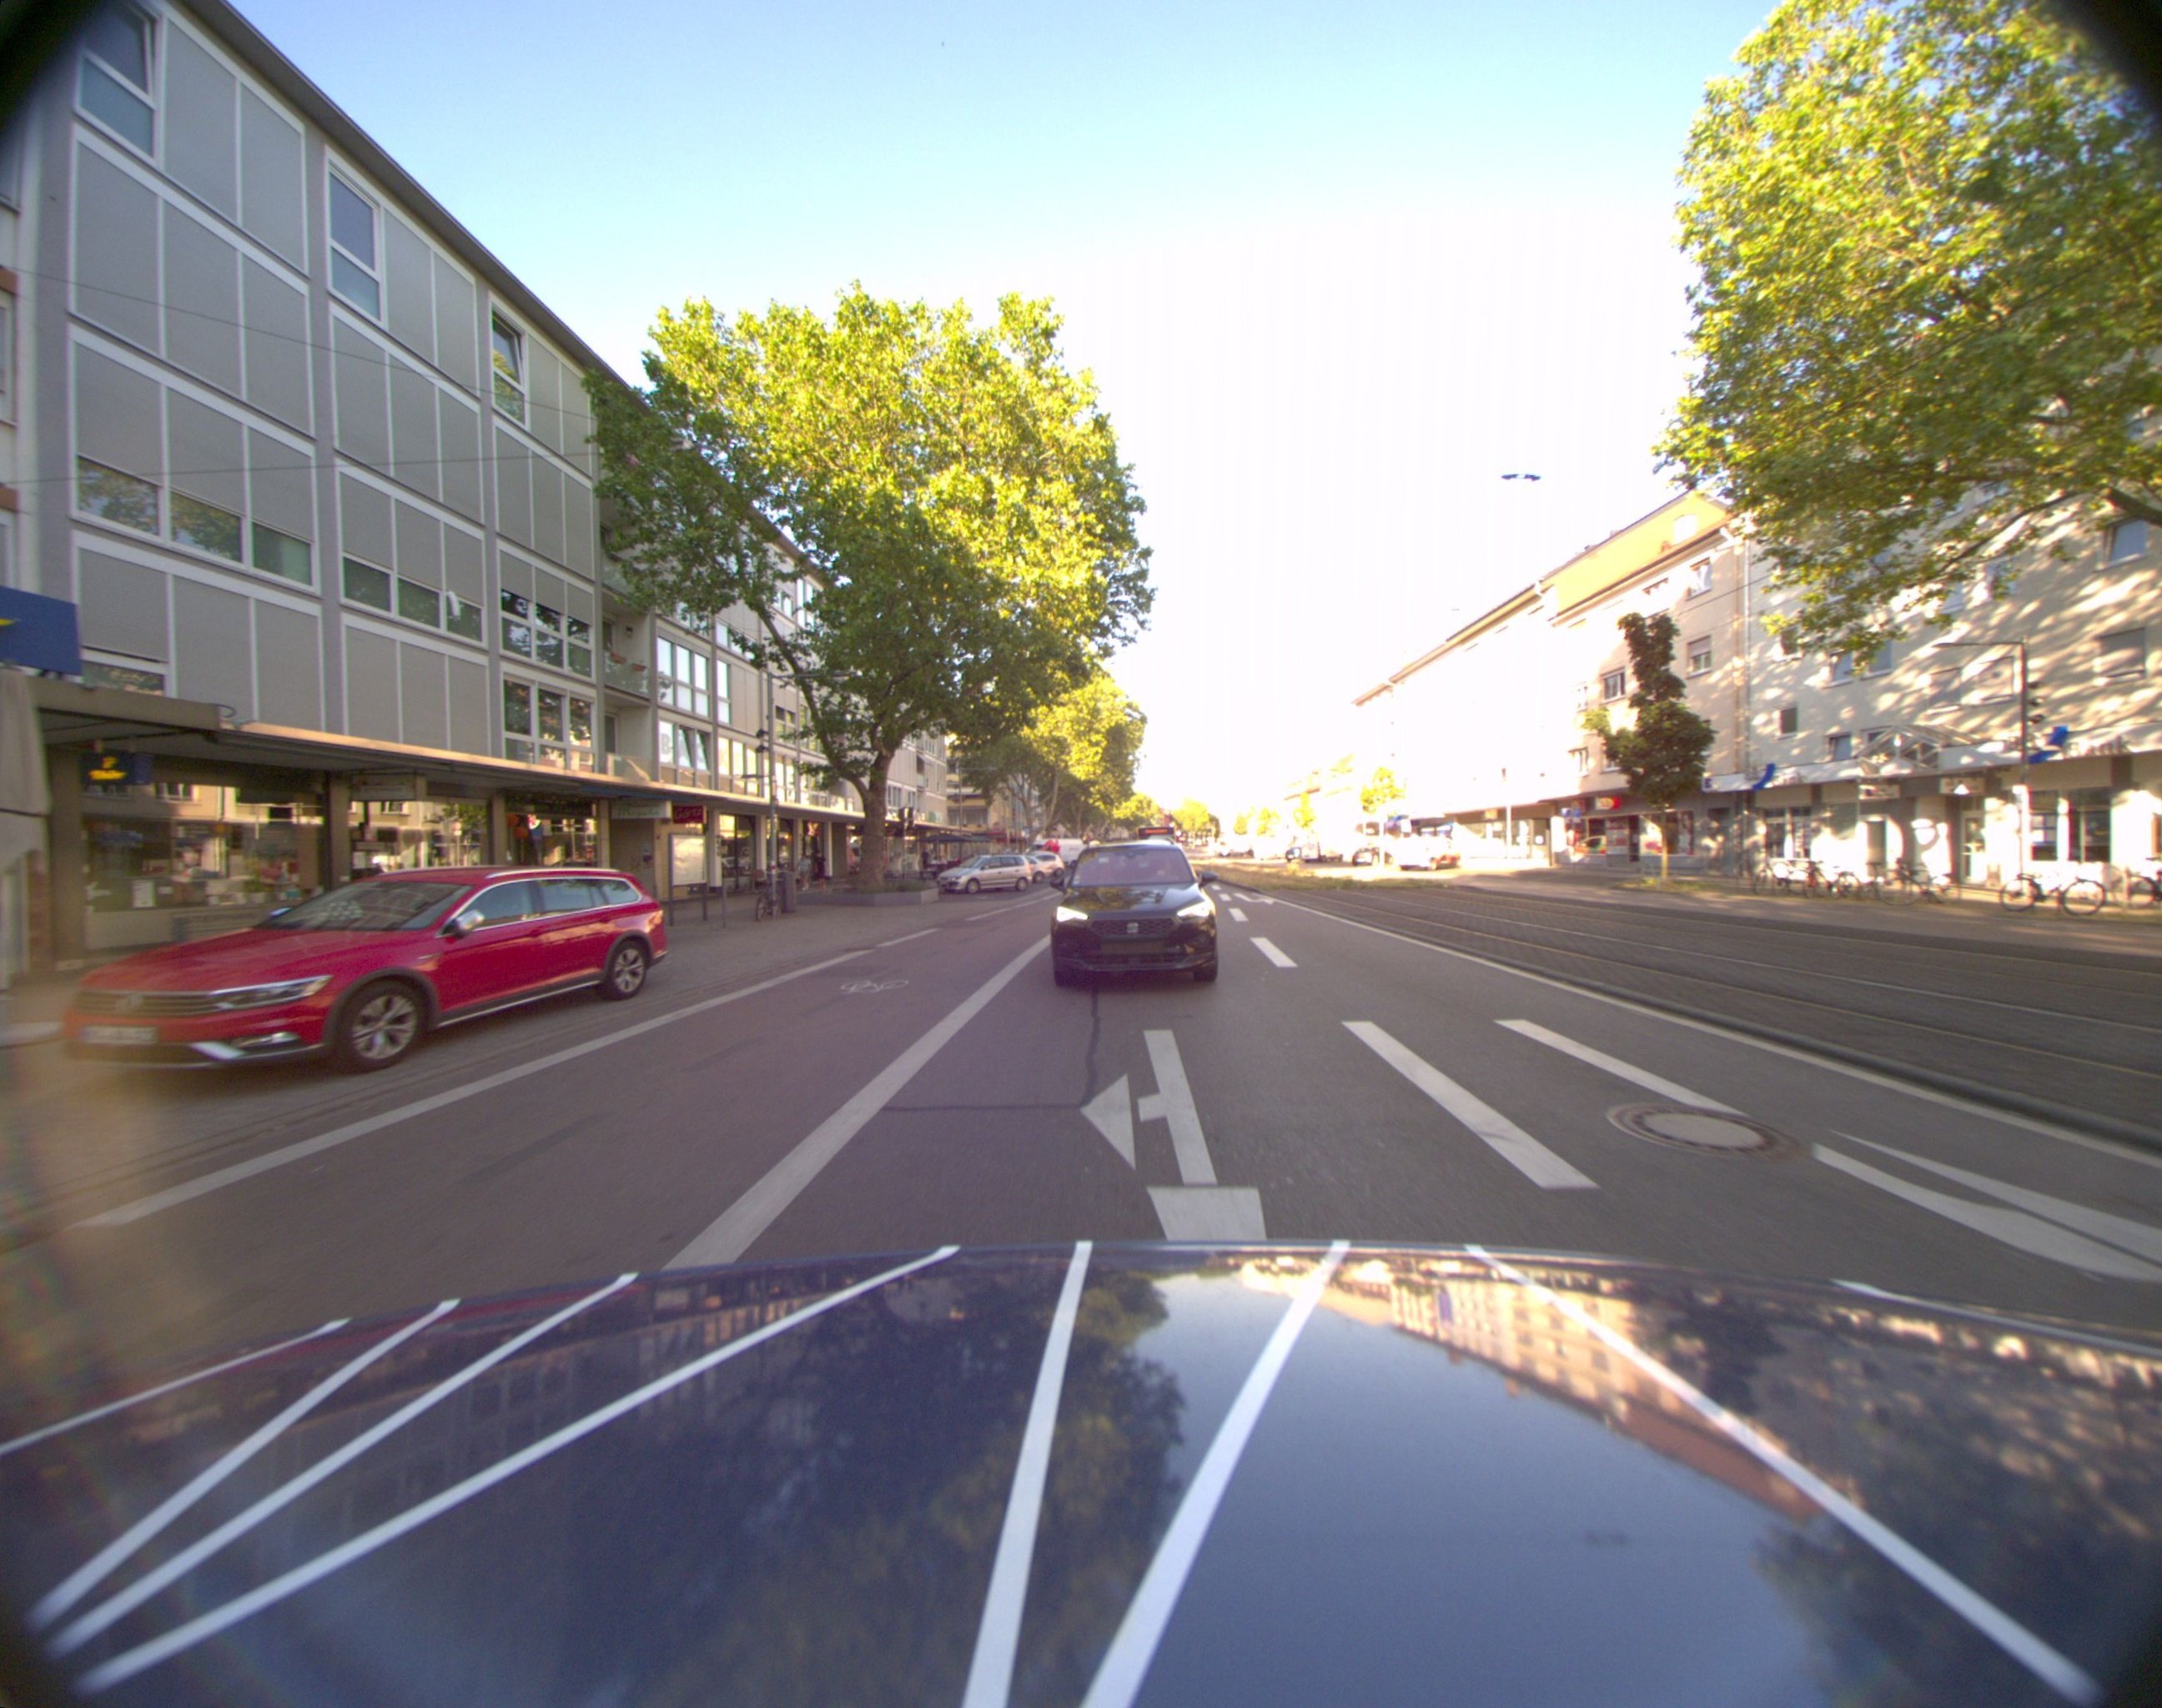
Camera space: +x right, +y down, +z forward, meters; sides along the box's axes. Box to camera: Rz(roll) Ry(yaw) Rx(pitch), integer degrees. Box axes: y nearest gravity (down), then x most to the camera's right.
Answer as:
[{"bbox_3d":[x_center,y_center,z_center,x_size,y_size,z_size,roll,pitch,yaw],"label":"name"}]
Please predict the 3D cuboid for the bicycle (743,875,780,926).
[{"bbox_3d":[-7.580,1.085,18.068,0.295,1.095,1.717,2,0,-7],"label":"bicycle"}]

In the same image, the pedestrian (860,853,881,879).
[{"bbox_3d":[-11.131,0.617,40.219,0.750,1.354,0.963,-1,1,7],"label":"pedestrian"}]

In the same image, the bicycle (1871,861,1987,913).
[{"bbox_3d":[19.369,0.743,17.378,1.898,1.118,0.652,-2,1,1],"label":"bicycle"}]

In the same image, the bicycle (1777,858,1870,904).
[{"bbox_3d":[19.434,0.710,19.896,1.898,1.118,0.534,-2,1,1],"label":"bicycle"}]

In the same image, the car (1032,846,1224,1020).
[{"bbox_3d":[0.687,0.765,9.440,1.807,1.638,4.002,-3,0,7],"label":"car"}]

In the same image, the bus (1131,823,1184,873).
[{"bbox_3d":[5.177,-0.529,53.347,2.871,2.962,12.239,-3,1,3],"label":"bus"}]

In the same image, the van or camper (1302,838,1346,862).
[{"bbox_3d":[22.420,-0.353,70.040,4.459,1.978,1.795,-3,1,-42],"label":"van or camper"}]

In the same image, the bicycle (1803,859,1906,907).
[{"bbox_3d":[19.410,0.724,19.093,1.898,1.118,0.652,-2,1,1],"label":"bicycle"}]

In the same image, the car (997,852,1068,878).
[{"bbox_3d":[-2.880,0.621,45.617,4.008,1.428,1.655,-1,2,-37],"label":"car"}]

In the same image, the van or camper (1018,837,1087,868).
[{"bbox_3d":[-2.315,-0.165,62.784,5.473,2.455,1.994,-1,1,-37],"label":"van or camper"}]

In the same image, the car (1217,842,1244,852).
[{"bbox_3d":[24.677,-1.176,125.595,3.919,1.482,1.767,-3,1,-20],"label":"car"}]

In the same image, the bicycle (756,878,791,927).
[{"bbox_3d":[-7.293,1.131,18.049,0.295,1.034,1.717,2,0,-7],"label":"bicycle"}]

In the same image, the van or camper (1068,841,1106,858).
[{"bbox_3d":[0.909,-0.645,110.013,5.473,2.455,1.994,-1,1,-40],"label":"van or camper"}]

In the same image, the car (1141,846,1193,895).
[{"bbox_3d":[2.994,0.515,26.783,1.658,1.571,4.001,-1,1,6],"label":"car"}]

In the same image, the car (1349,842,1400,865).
[{"bbox_3d":[21.816,-0.065,56.438,4.459,1.482,1.765,-3,1,-44],"label":"car"}]

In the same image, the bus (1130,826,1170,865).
[{"bbox_3d":[5.782,-0.840,65.550,2.871,2.962,12.239,-3,1,3],"label":"bus"}]

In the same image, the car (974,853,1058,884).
[{"bbox_3d":[-3.240,0.674,38.441,4.008,1.428,1.655,-1,2,-40],"label":"car"}]

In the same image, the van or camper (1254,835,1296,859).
[{"bbox_3d":[23.250,-0.887,90.870,1.994,2.652,6.410,-2,1,41],"label":"van or camper"}]

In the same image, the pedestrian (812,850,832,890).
[{"bbox_3d":[-10.346,0.629,30.375,0.538,1.582,0.687,1,1,2],"label":"pedestrian"}]

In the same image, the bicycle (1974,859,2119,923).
[{"bbox_3d":[18.896,0.690,14.944,0.509,1.118,1.911,-2,1,4],"label":"bicycle"}]

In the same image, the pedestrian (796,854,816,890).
[{"bbox_3d":[-10.976,0.719,30.331,0.538,1.392,0.687,1,1,2],"label":"pedestrian"}]

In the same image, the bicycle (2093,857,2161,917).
[{"bbox_3d":[21.030,0.641,14.680,0.509,1.118,1.911,-2,1,4],"label":"bicycle"}]

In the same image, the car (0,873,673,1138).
[{"bbox_3d":[-6.053,1.013,7.112,1.782,1.488,4.568,1,1,4],"label":"car"}]

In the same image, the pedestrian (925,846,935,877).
[{"bbox_3d":[-9.812,0.493,49.396,0.552,2.002,0.577,-3,1,-11],"label":"pedestrian"}]

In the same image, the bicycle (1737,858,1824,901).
[{"bbox_3d":[19.462,0.692,21.150,1.898,1.118,0.534,-2,1,1],"label":"bicycle"}]

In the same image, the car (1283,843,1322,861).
[{"bbox_3d":[22.418,-0.180,76.956,4.007,1.577,1.874,-3,1,-41],"label":"car"}]

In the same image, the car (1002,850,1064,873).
[{"bbox_3d":[-3.268,0.492,52.224,4.008,1.514,1.655,-1,2,-37],"label":"car"}]

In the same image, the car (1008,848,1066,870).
[{"bbox_3d":[-3.187,0.327,55.431,4.008,1.555,1.655,-1,2,-37],"label":"car"}]

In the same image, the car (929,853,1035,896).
[{"bbox_3d":[-3.993,0.771,31.139,4.008,1.597,1.804,-1,1,-45],"label":"car"}]

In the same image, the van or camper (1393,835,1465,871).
[{"bbox_3d":[20.699,-0.093,45.105,4.823,1.887,1.946,-3,1,-40],"label":"van or camper"}]
